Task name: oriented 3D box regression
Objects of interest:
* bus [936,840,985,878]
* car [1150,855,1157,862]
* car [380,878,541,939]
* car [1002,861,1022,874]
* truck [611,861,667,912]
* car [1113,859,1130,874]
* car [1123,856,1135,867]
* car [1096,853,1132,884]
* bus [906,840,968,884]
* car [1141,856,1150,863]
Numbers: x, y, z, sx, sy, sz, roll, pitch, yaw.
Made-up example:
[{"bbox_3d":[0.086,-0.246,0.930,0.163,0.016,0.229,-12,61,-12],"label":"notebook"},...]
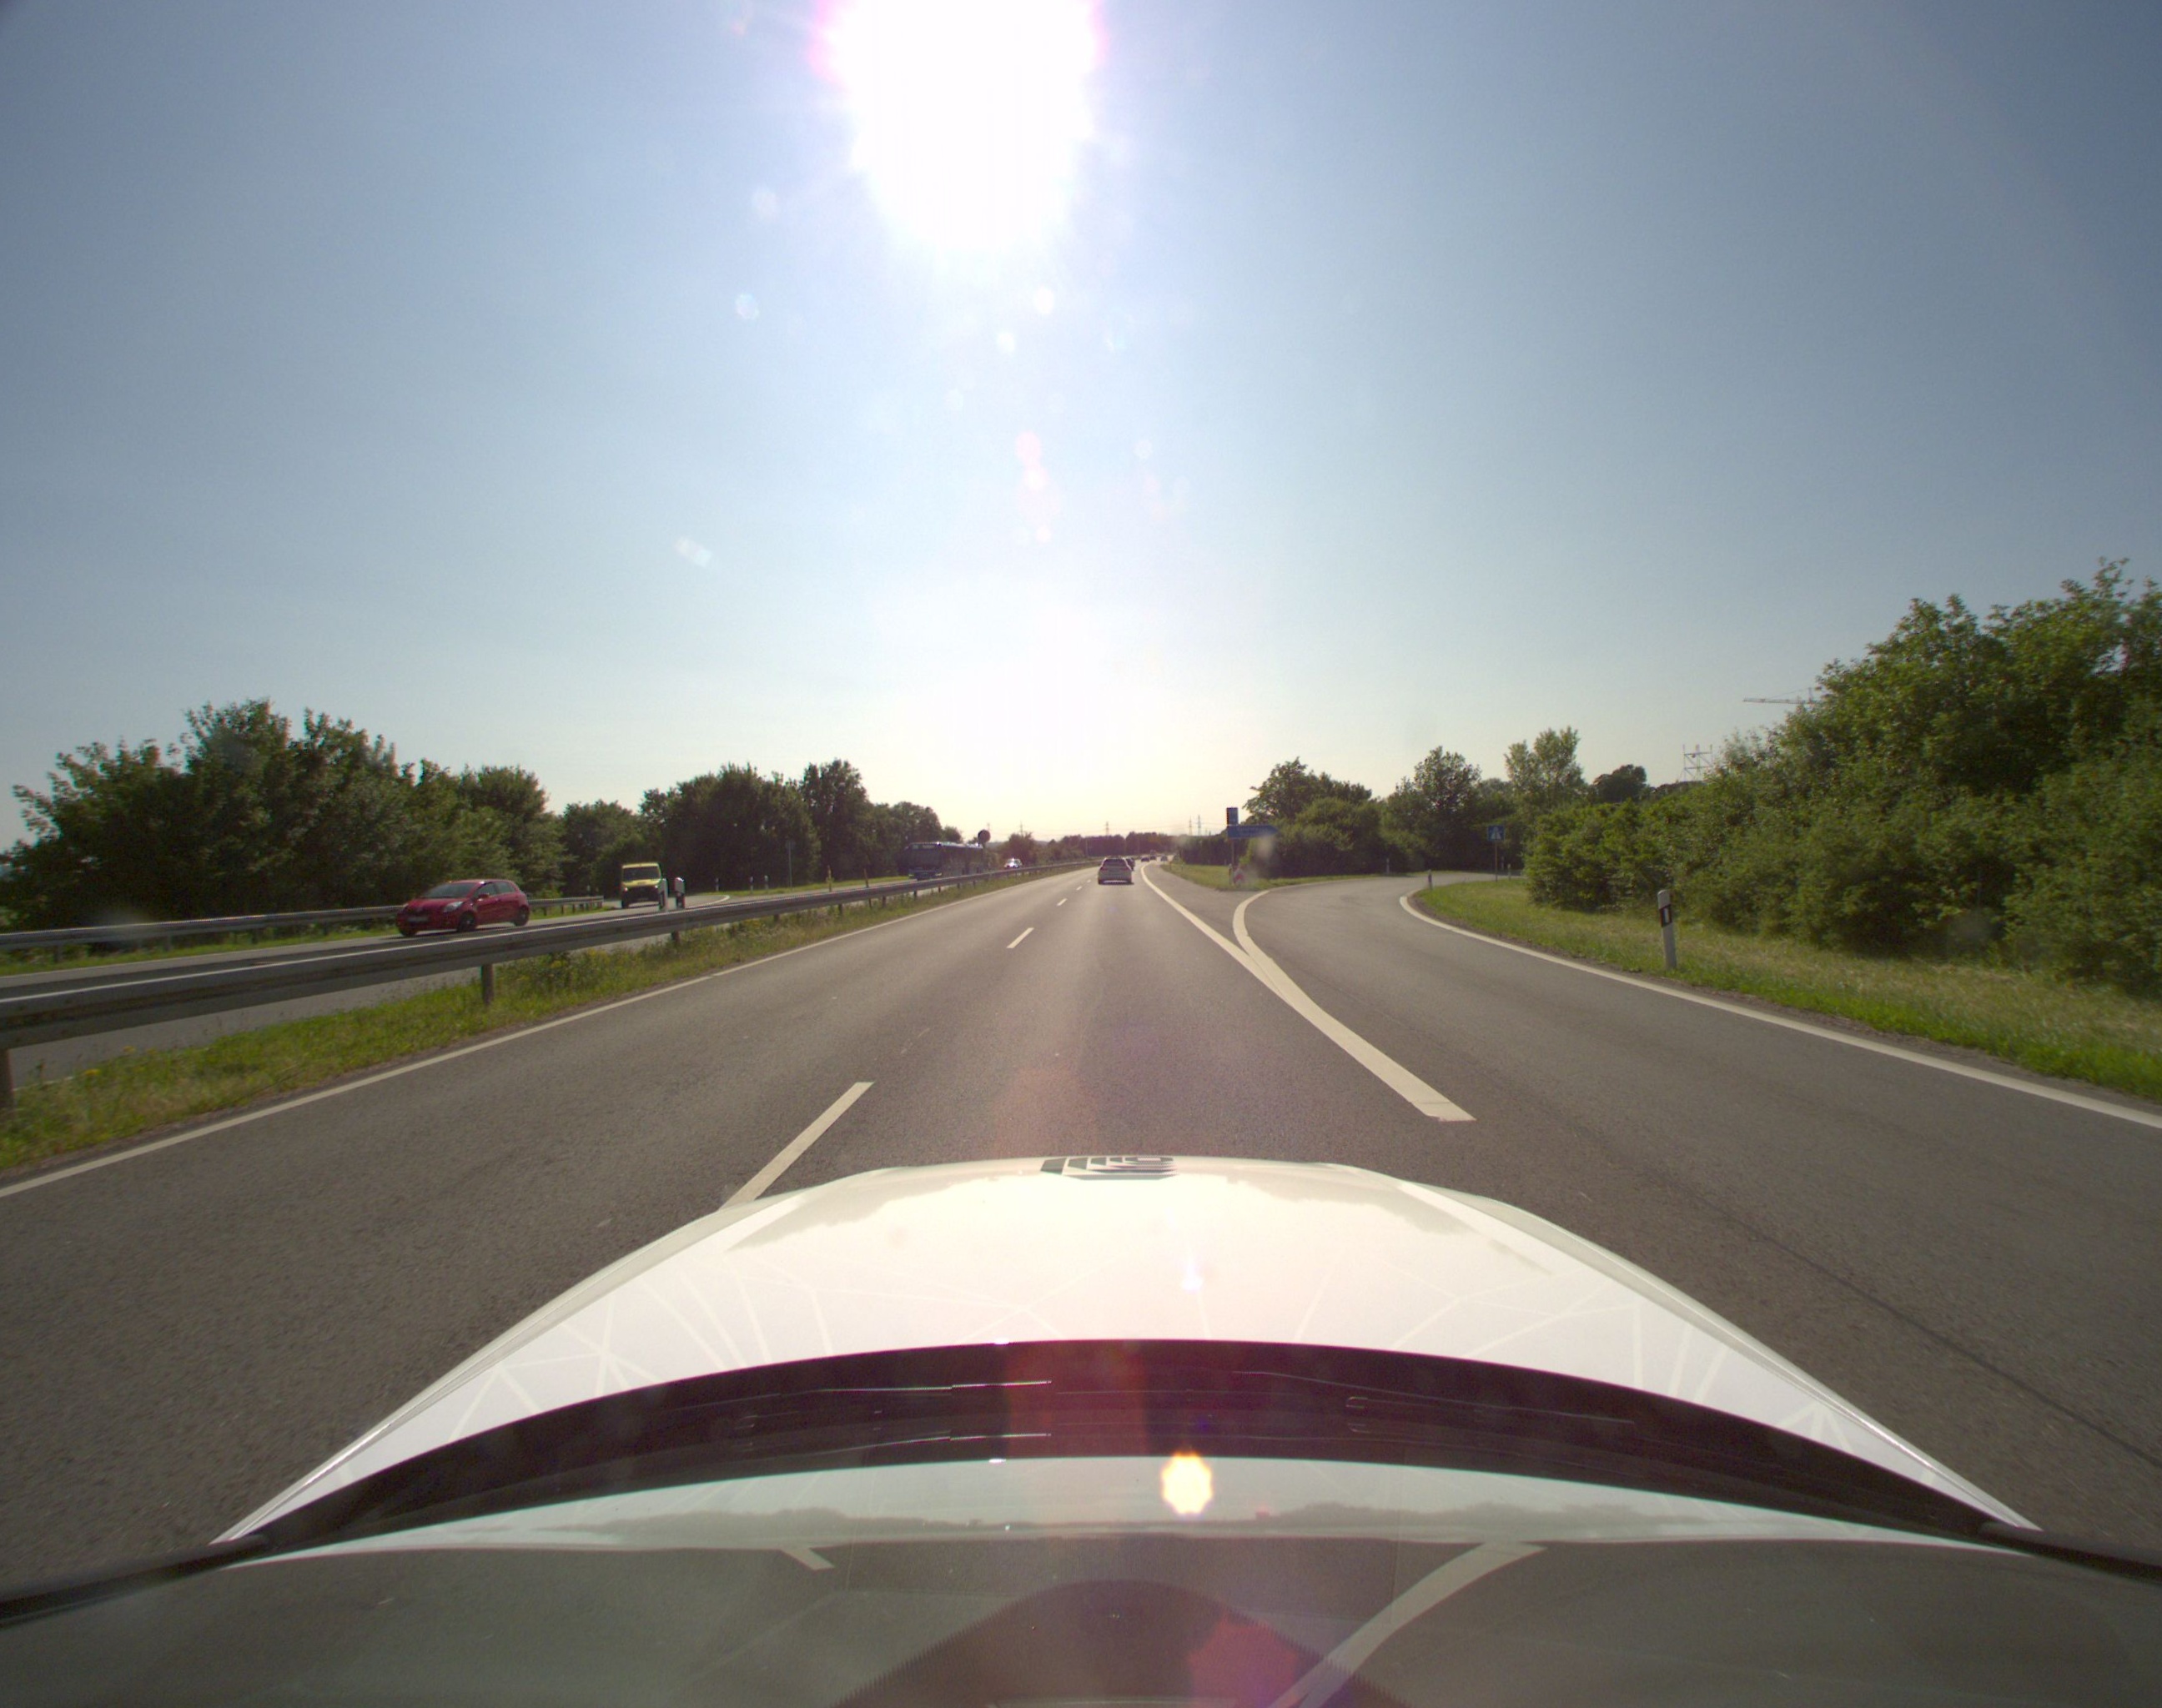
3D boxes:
[{"bbox_3d":[-10.742,0.429,73.515,2.714,3.110,8.399,-2,0,3],"label":"bus"},{"bbox_3d":[20.495,1.272,229.592,1.834,1.698,4.002,-1,0,2],"label":"car"},{"bbox_3d":[-17.972,1.523,23.848,1.782,1.445,3.994,-2,0,-4],"label":"car"},{"bbox_3d":[-8.774,1.687,103.722,1.985,1.605,4.278,0,1,3],"label":"car"},{"bbox_3d":[-23.985,1.759,44.408,2.137,2.453,6.562,-4,0,-25],"label":"truck"},{"bbox_3d":[4.460,1.343,88.824,1.785,1.543,3.675,-1,0,3],"label":"car"},{"bbox_3d":[7.584,1.218,128.510,1.760,1.736,3.637,-1,0,6],"label":"car"},{"bbox_3d":[1.849,0.801,46.046,1.951,1.601,4.109,0,1,2],"label":"car"},{"bbox_3d":[-11.209,0.556,64.430,2.715,3.110,9.840,-2,0,2],"label":"bus"},{"bbox_3d":[15.392,1.308,194.471,1.832,1.802,4.007,-1,0,6],"label":"car"}]
